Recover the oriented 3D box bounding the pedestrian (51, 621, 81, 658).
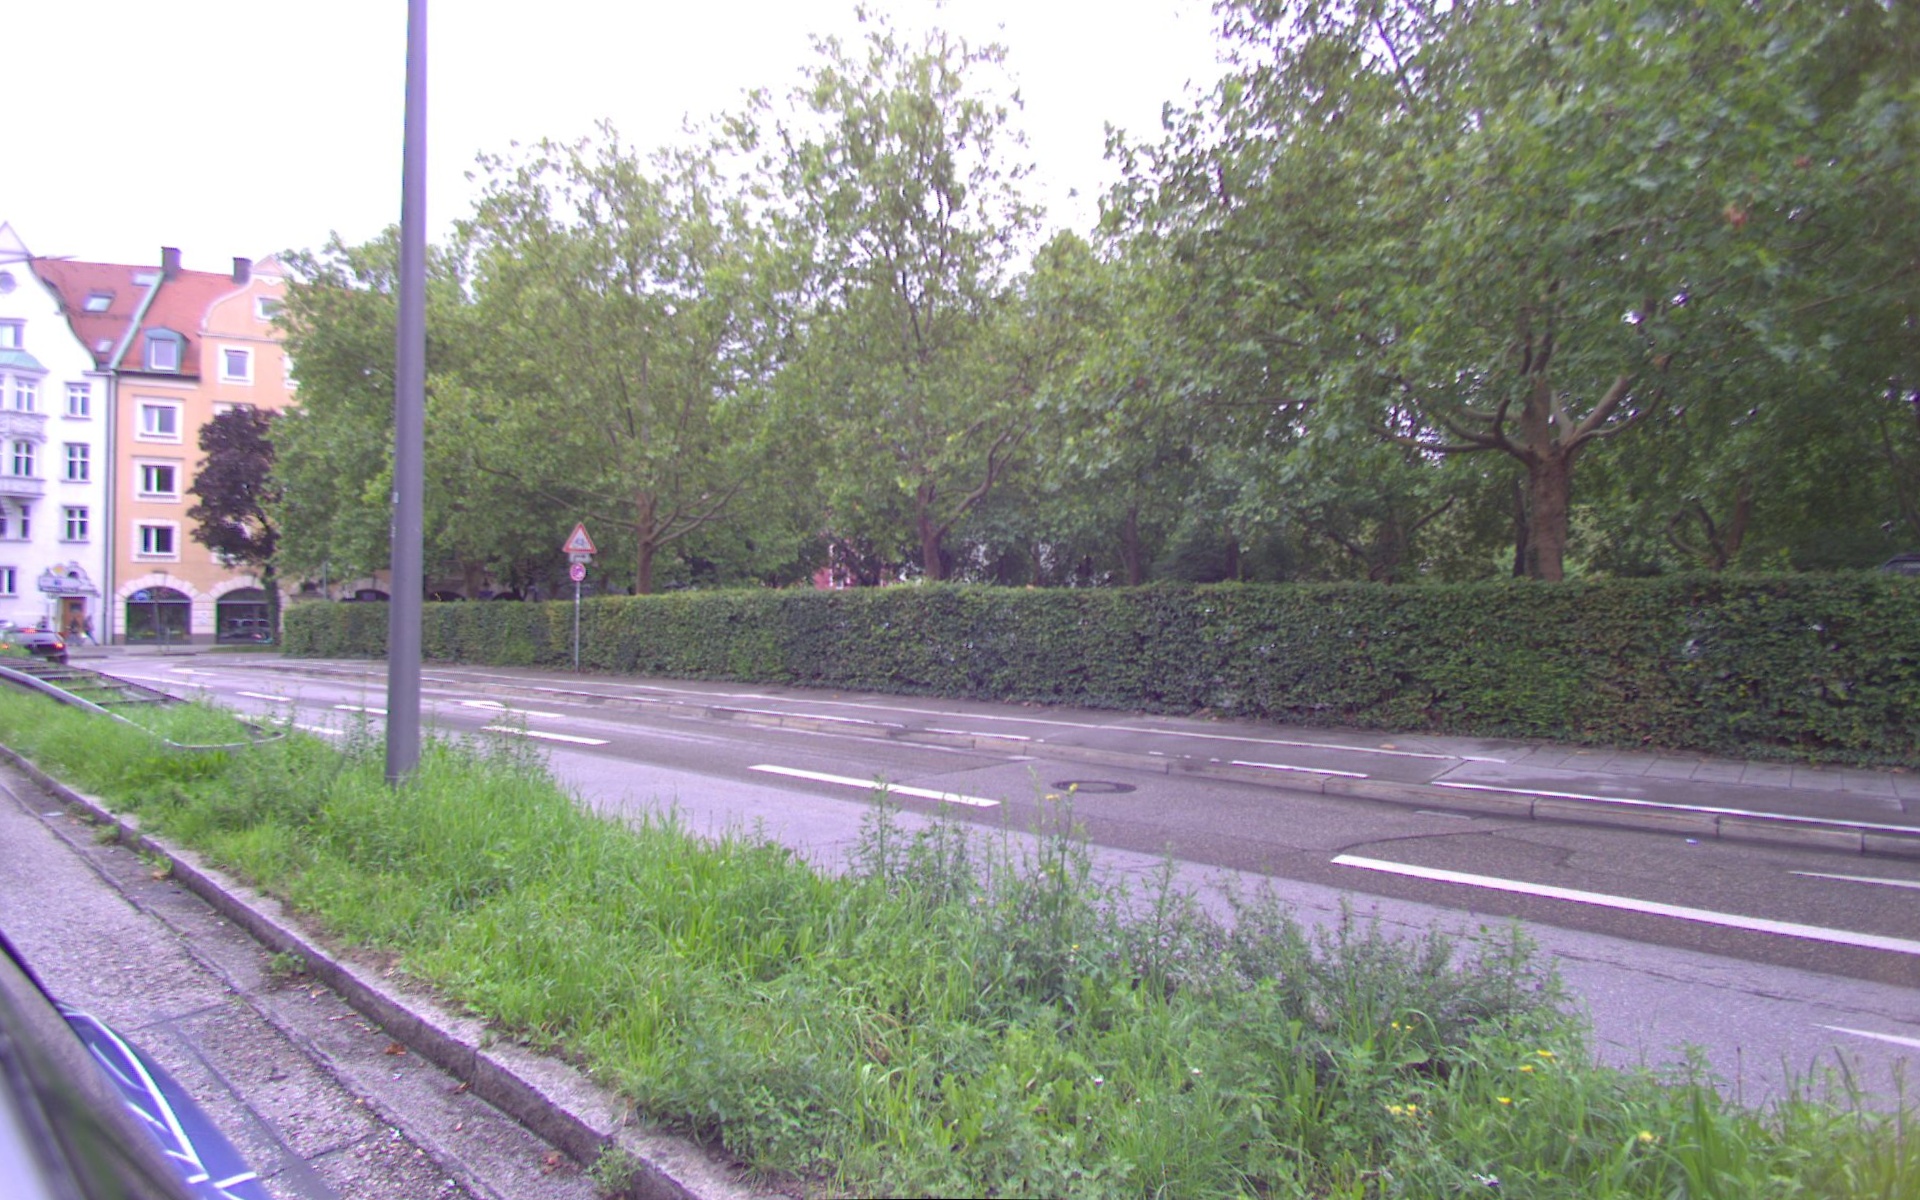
[{"bbox_3d":[-50.487,2.204,57.188,0.991,2.029,0.881,-1,0,-18],"label":"pedestrian"}]

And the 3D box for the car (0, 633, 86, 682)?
[{"bbox_3d":[-28.037,1.688,30.713,3.998,1.395,1.735,-2,-2,41],"label":"car"}]

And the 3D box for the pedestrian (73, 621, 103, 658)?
[{"bbox_3d":[-48.892,2.206,56.774,0.991,2.029,0.881,-1,0,-18],"label":"pedestrian"}]

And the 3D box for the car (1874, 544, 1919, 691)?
[{"bbox_3d":[18.932,0.279,19.350,2.000,2.554,5.779,-1,0,44],"label":"car"}]
